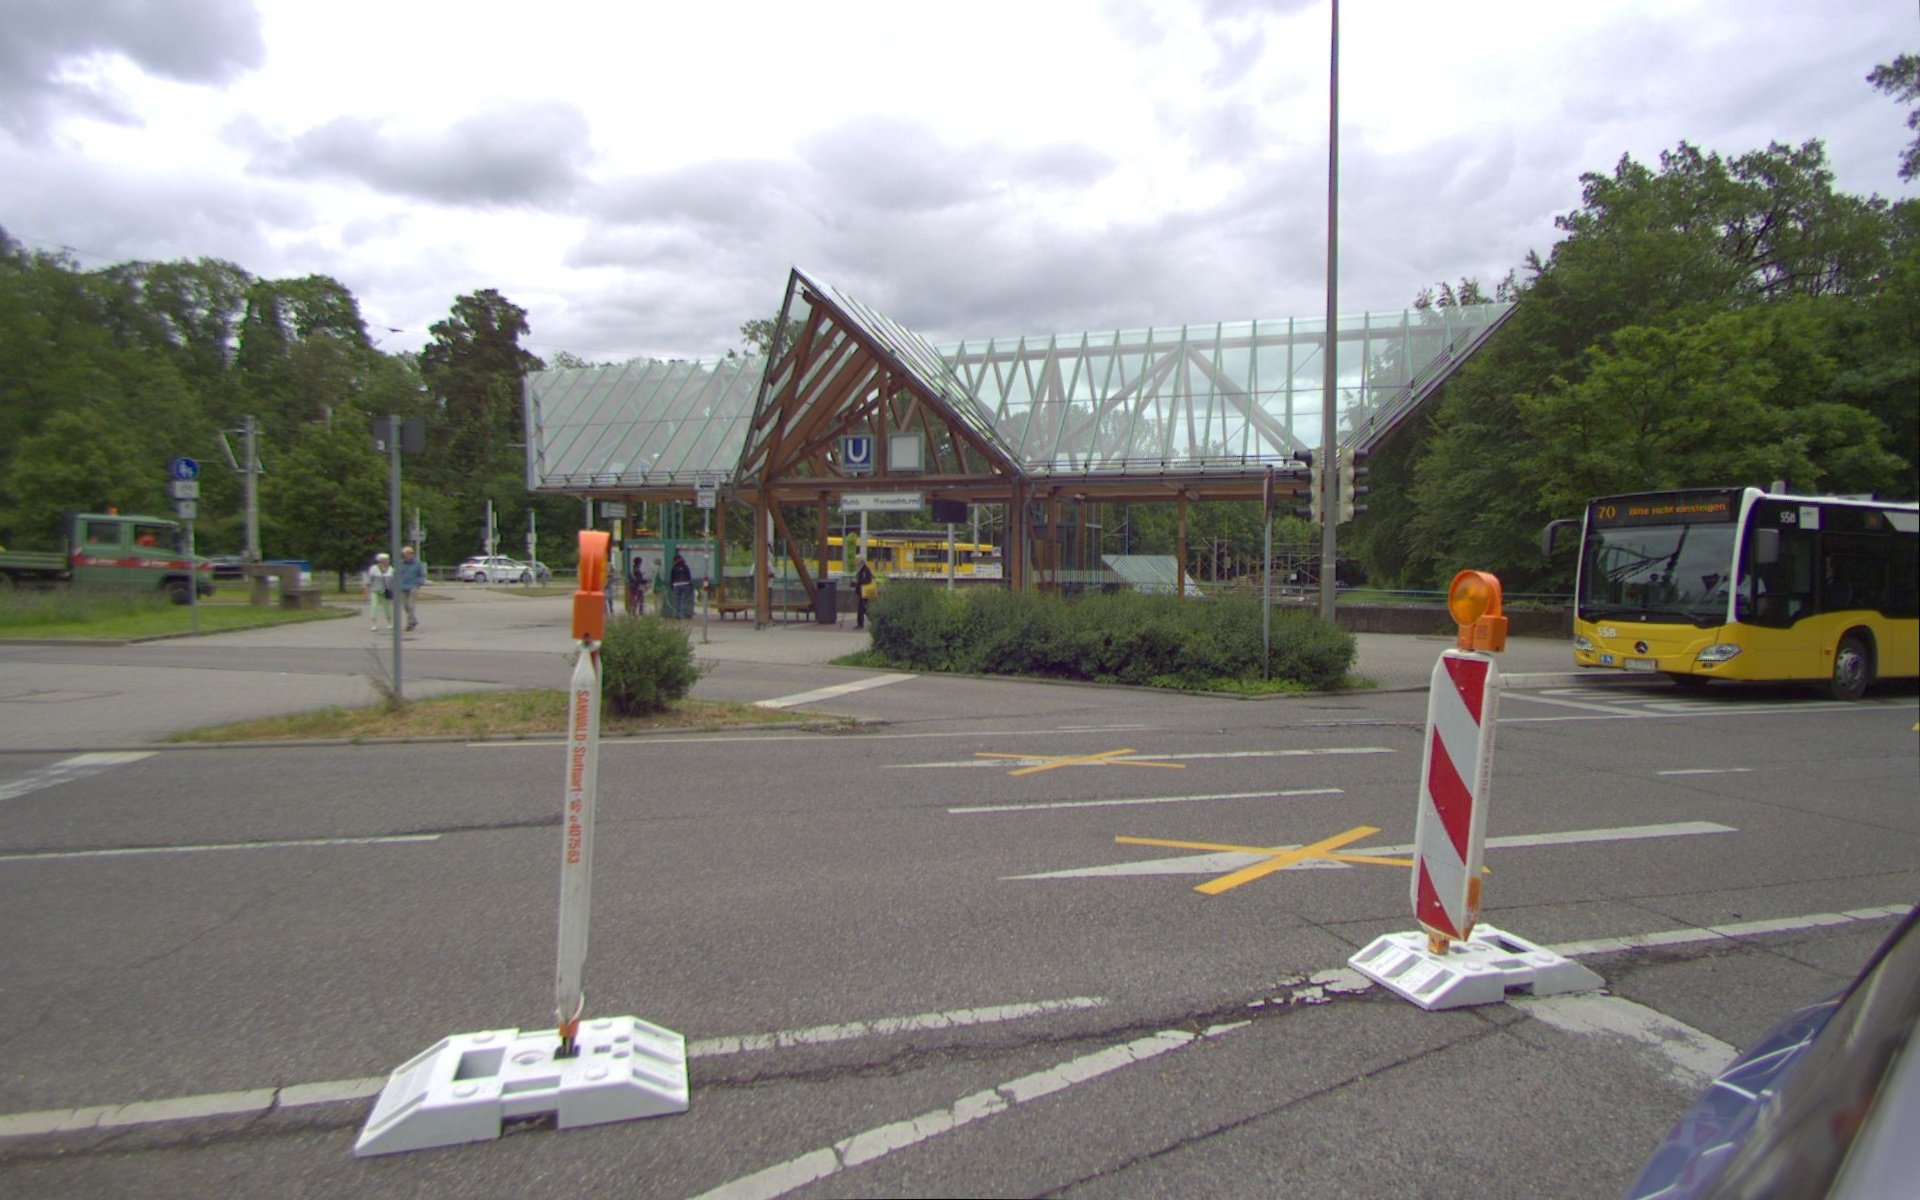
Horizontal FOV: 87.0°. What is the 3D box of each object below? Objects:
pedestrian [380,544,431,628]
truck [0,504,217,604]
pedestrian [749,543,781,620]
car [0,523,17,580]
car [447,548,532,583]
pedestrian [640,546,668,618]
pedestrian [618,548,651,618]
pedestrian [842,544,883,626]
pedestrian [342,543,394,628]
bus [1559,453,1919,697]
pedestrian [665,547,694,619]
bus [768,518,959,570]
[{"bbox_3d":[-11.811,-0.301,21.576,0.722,1.779,0.669,0,1,-3],"label":"pedestrian"},{"bbox_3d":[-22.832,-1.124,25.590,6.426,2.381,2.405,-1,1,-39],"label":"truck"},{"bbox_3d":[-4.562,-0.429,23.744,0.643,1.779,0.669,0,1,-2],"label":"pedestrian"},{"bbox_3d":[-44.380,-2.102,43.085,1.992,2.525,6.058,1,1,41],"label":"car"},{"bbox_3d":[-28.398,-2.048,61.194,1.992,2.039,4.264,1,1,41],"label":"car"},{"bbox_3d":[-7.722,-0.451,25.517,0.587,1.779,0.669,0,1,-26],"label":"pedestrian"},{"bbox_3d":[-8.340,-0.439,25.949,0.656,1.779,0.561,0,1,-39],"label":"pedestrian"},{"bbox_3d":[-2.156,-0.328,22.411,0.663,1.779,0.648,0,1,33],"label":"pedestrian"},{"bbox_3d":[-12.519,-0.306,21.423,0.722,1.779,0.669,0,1,-2],"label":"pedestrian"},{"bbox_3d":[14.748,-0.327,16.424,10.297,3.198,2.818,0,1,-21],"label":"bus"},{"bbox_3d":[-7.103,-0.432,25.606,0.587,1.779,0.669,0,1,-26],"label":"pedestrian"},{"bbox_3d":[-7.107,-4.243,80.614,3.956,3.527,18.331,1,1,37],"label":"bus"}]
